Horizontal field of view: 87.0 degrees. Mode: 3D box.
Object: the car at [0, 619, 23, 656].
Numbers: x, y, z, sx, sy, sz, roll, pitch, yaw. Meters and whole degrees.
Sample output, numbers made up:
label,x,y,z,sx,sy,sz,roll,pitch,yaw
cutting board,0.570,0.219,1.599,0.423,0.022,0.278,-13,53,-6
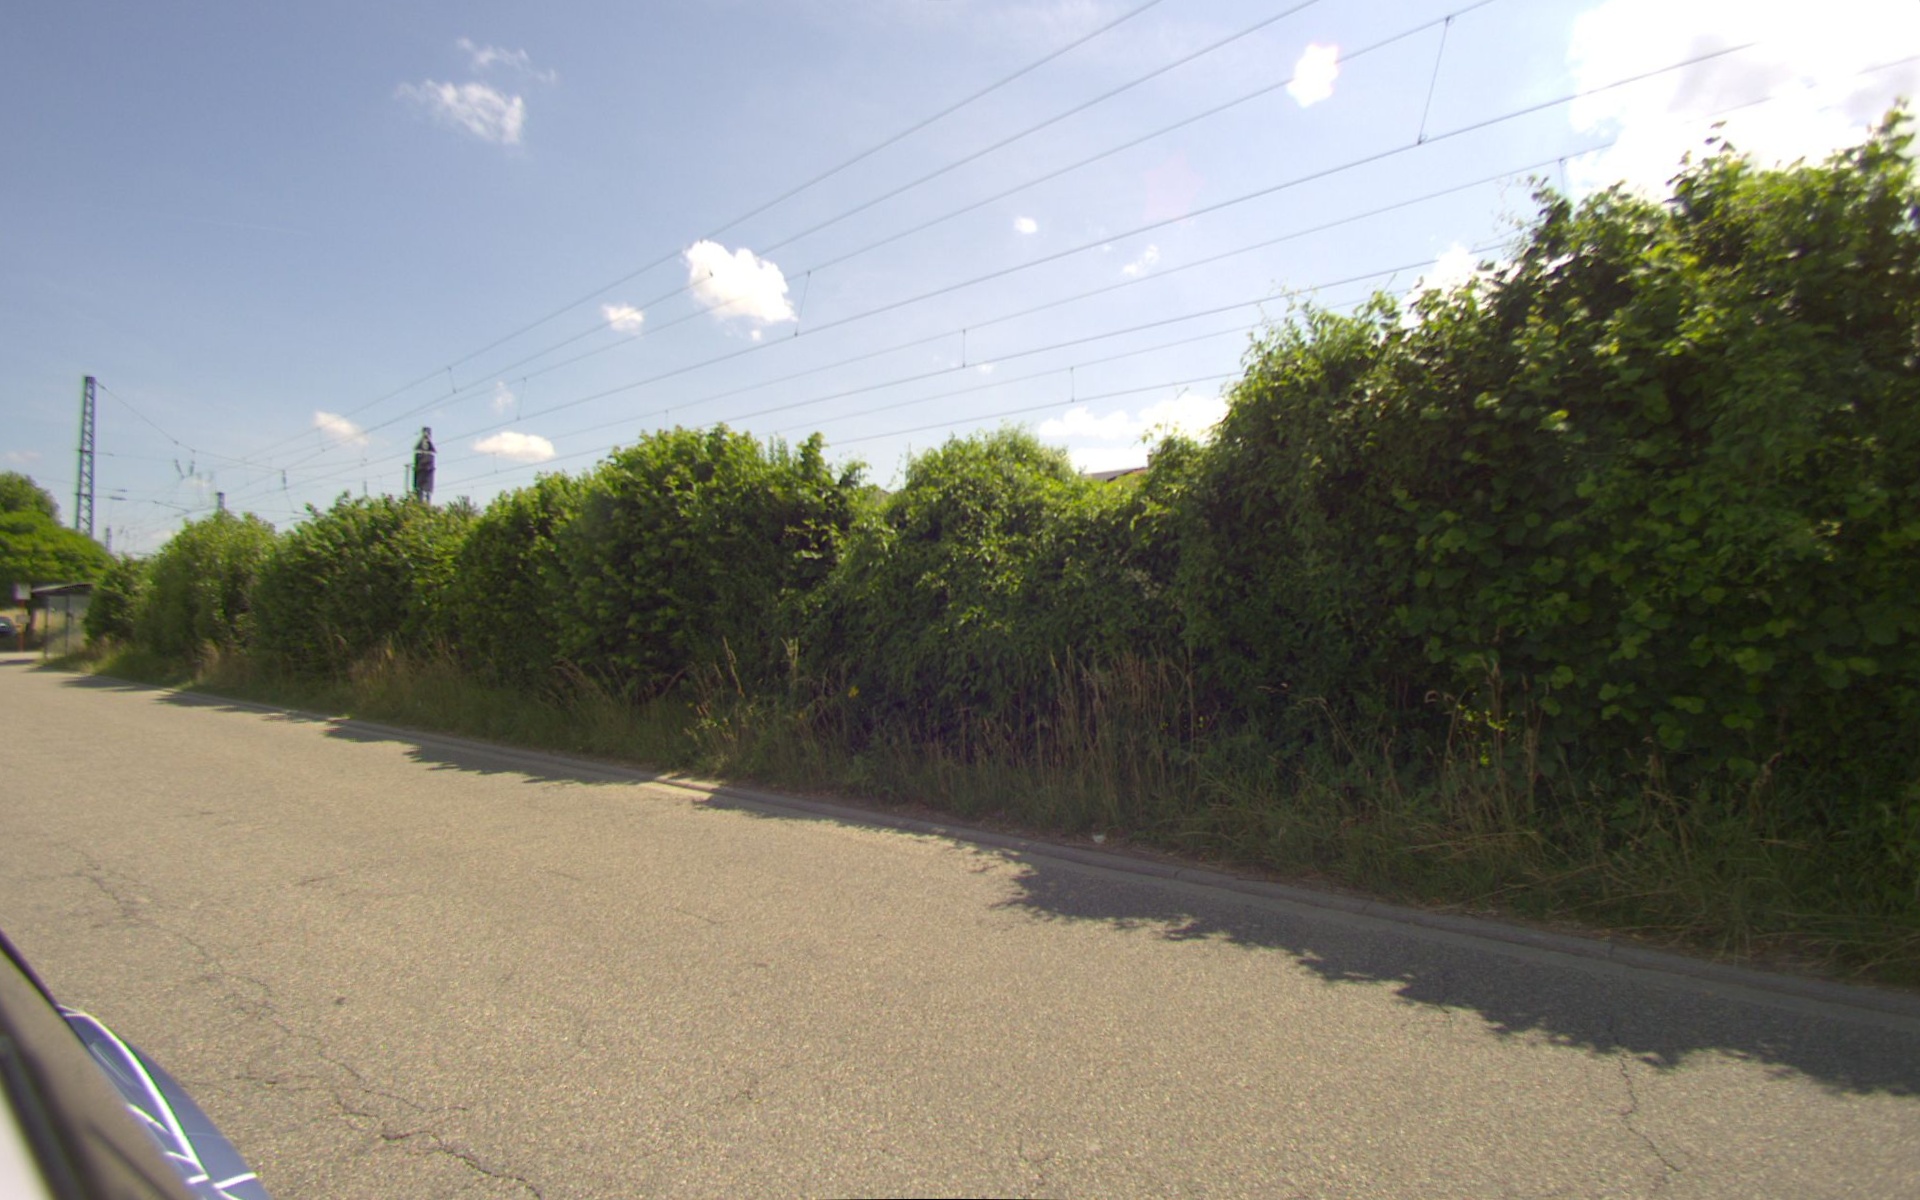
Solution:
label,x,y,z,sx,sy,sz,roll,pitch,yaw
car,-43.550,1.658,45.375,3.575,1.608,1.725,-1,-1,38
